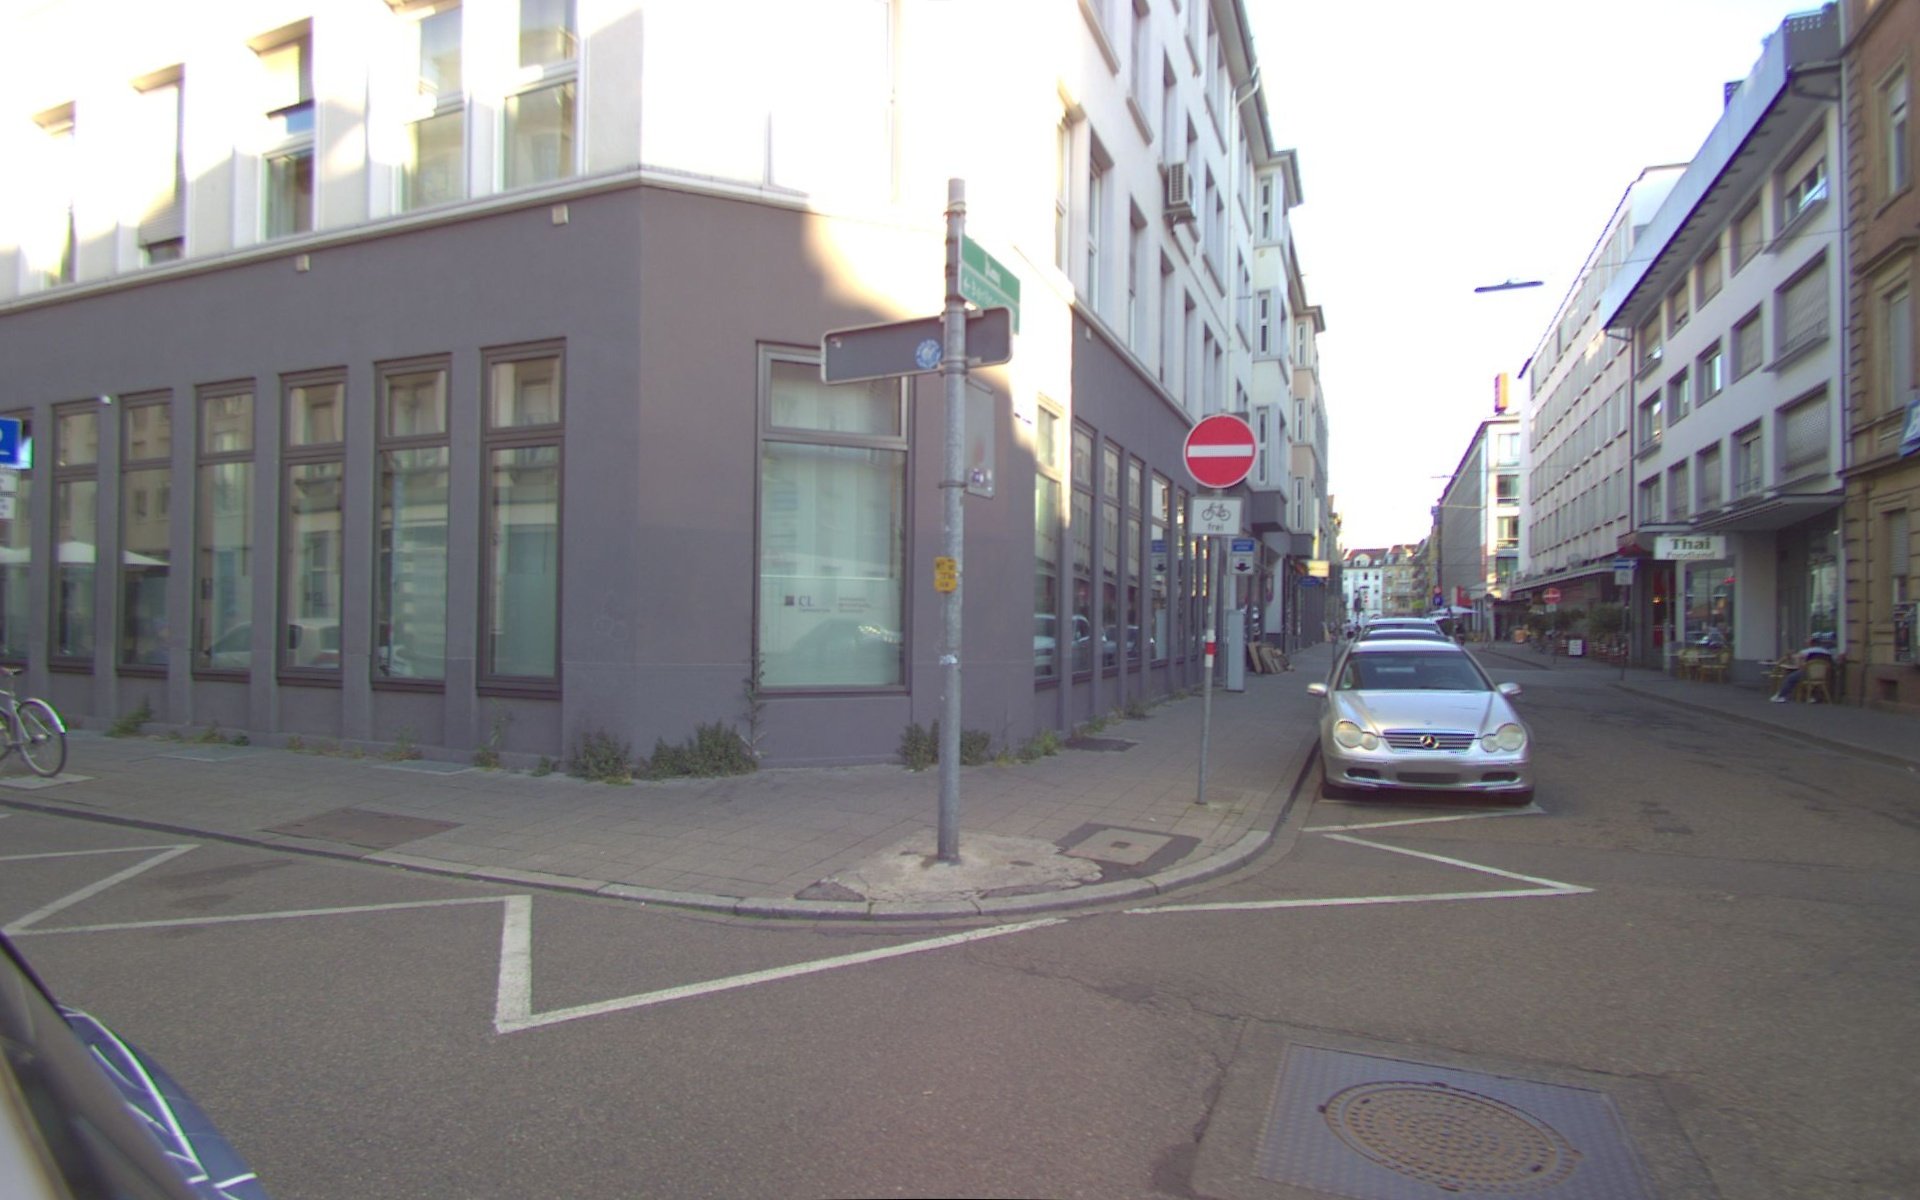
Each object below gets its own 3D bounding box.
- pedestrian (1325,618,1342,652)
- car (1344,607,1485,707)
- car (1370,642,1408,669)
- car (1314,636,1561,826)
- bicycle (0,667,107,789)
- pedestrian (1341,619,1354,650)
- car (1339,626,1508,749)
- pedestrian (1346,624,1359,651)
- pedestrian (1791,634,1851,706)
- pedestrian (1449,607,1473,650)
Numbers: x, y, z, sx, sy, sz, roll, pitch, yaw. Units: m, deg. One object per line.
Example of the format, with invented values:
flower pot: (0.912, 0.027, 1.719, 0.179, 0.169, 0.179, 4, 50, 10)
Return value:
pedestrian: (24.933, 2.327, 67.545, 1.023, 2.191, 0.881, 0, -2, 17)
car: (9.078, 1.064, 20.387, 2.322, 1.757, 4.452, 0, -2, 23)
car: (18.895, 2.424, 44.599, 1.505, 1.067, 3.439, 0, -1, 23)
car: (4.543, 1.086, 10.108, 1.744, 1.412, 4.456, -1, -2, 21)
bicycle: (-8.154, 1.063, 8.708, 1.634, 0.912, 0.593, 0, -2, 24)
pedestrian: (26.102, 2.317, 68.121, 0.720, 2.107, 0.800, 0, -2, 16)
car: (6.837, 1.171, 15.139, 2.002, 1.536, 4.085, 0, -2, 23)
pedestrian: (25.855, 2.445, 66.639, 0.705, 1.774, 0.881, 0, -2, 16)
pedestrian: (16.865, 1.350, 19.823, 0.839, 1.349, 0.794, 0, -1, 44)
pedestrian: (31.541, 1.796, 63.776, 1.240, 2.634, 1.456, 0, -1, 23)
